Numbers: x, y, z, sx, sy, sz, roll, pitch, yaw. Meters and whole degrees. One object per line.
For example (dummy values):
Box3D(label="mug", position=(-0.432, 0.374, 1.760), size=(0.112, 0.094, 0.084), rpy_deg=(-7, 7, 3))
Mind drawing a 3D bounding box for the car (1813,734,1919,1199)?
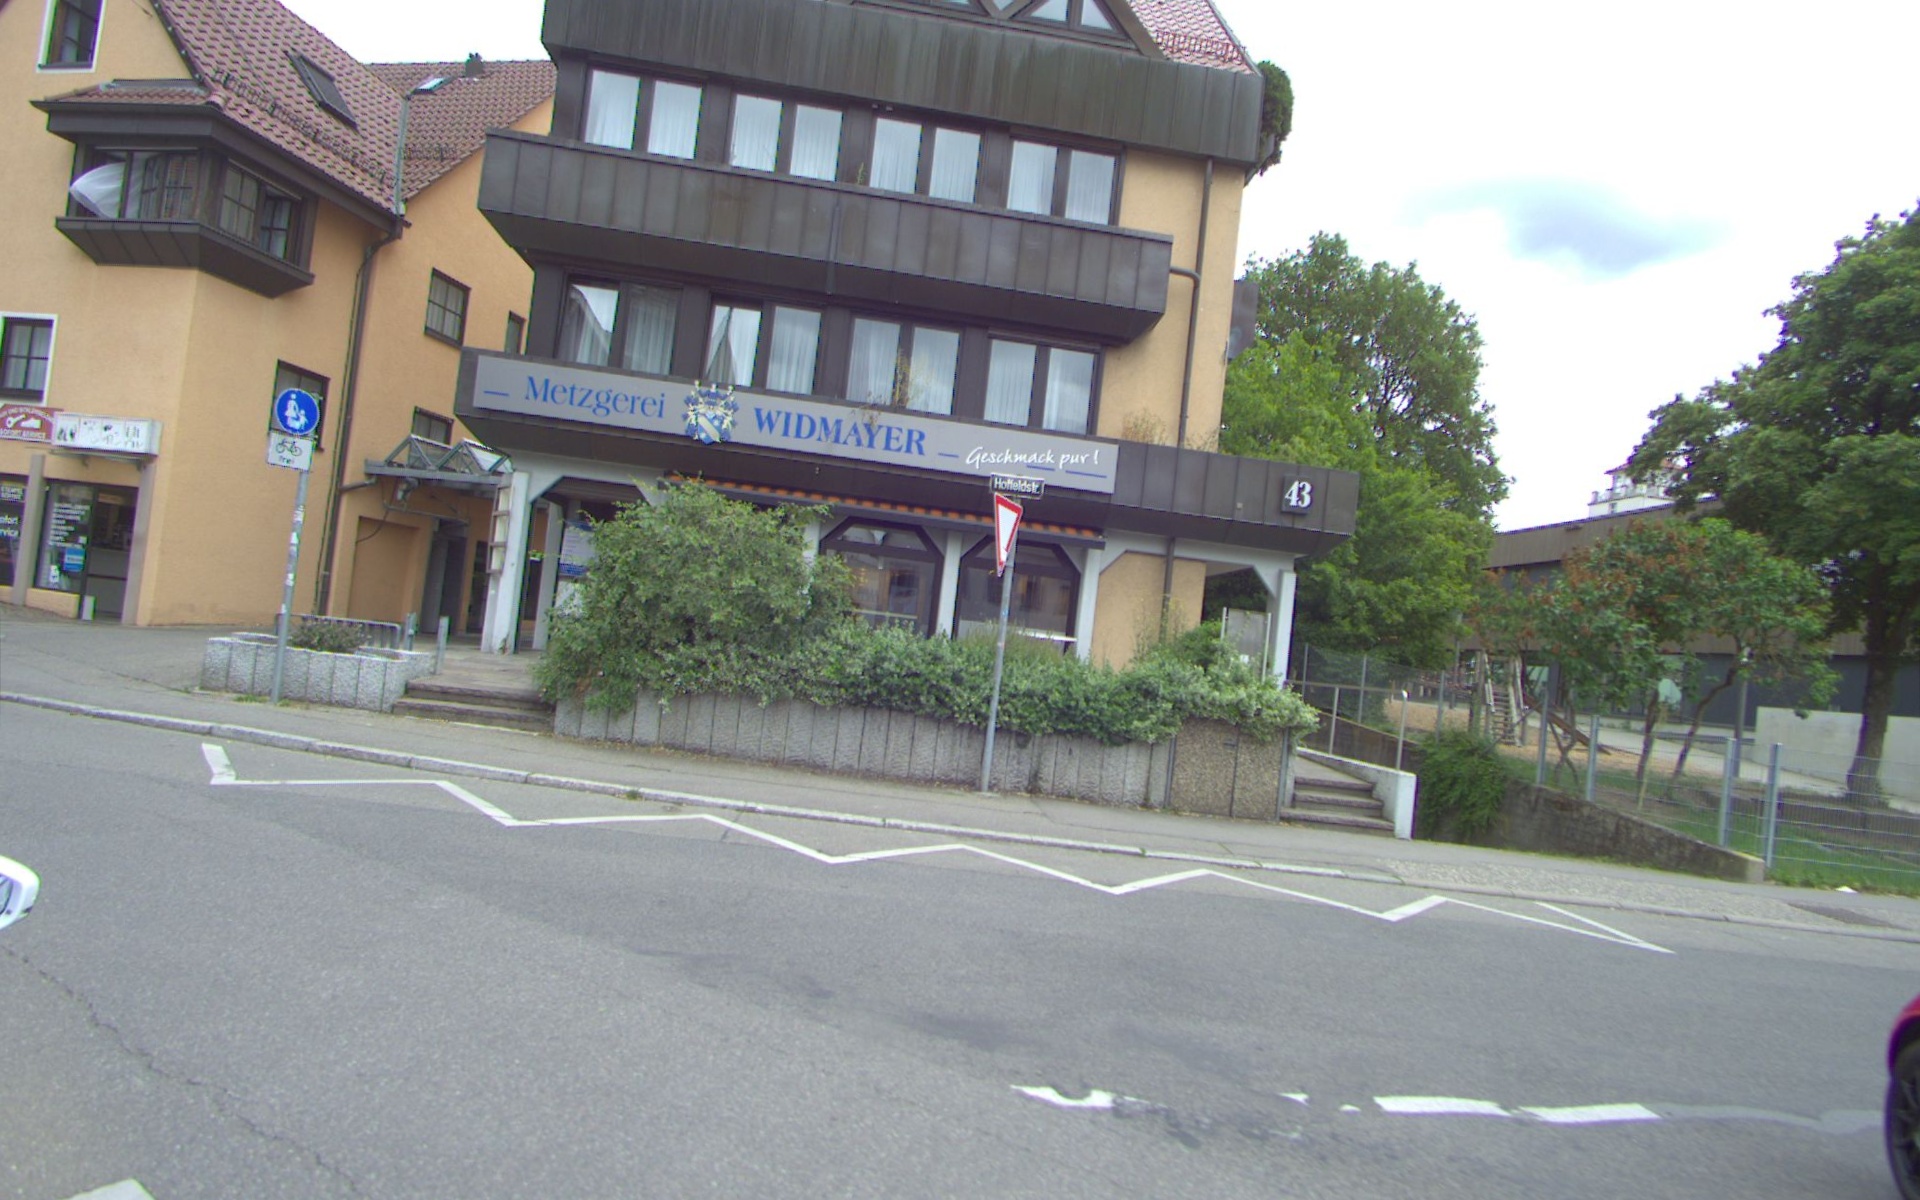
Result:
Box3D(label="car", position=(3.717, 1.280, 2.233), size=(1.787, 1.538, 2.940), rpy_deg=(7, -1, 22))
